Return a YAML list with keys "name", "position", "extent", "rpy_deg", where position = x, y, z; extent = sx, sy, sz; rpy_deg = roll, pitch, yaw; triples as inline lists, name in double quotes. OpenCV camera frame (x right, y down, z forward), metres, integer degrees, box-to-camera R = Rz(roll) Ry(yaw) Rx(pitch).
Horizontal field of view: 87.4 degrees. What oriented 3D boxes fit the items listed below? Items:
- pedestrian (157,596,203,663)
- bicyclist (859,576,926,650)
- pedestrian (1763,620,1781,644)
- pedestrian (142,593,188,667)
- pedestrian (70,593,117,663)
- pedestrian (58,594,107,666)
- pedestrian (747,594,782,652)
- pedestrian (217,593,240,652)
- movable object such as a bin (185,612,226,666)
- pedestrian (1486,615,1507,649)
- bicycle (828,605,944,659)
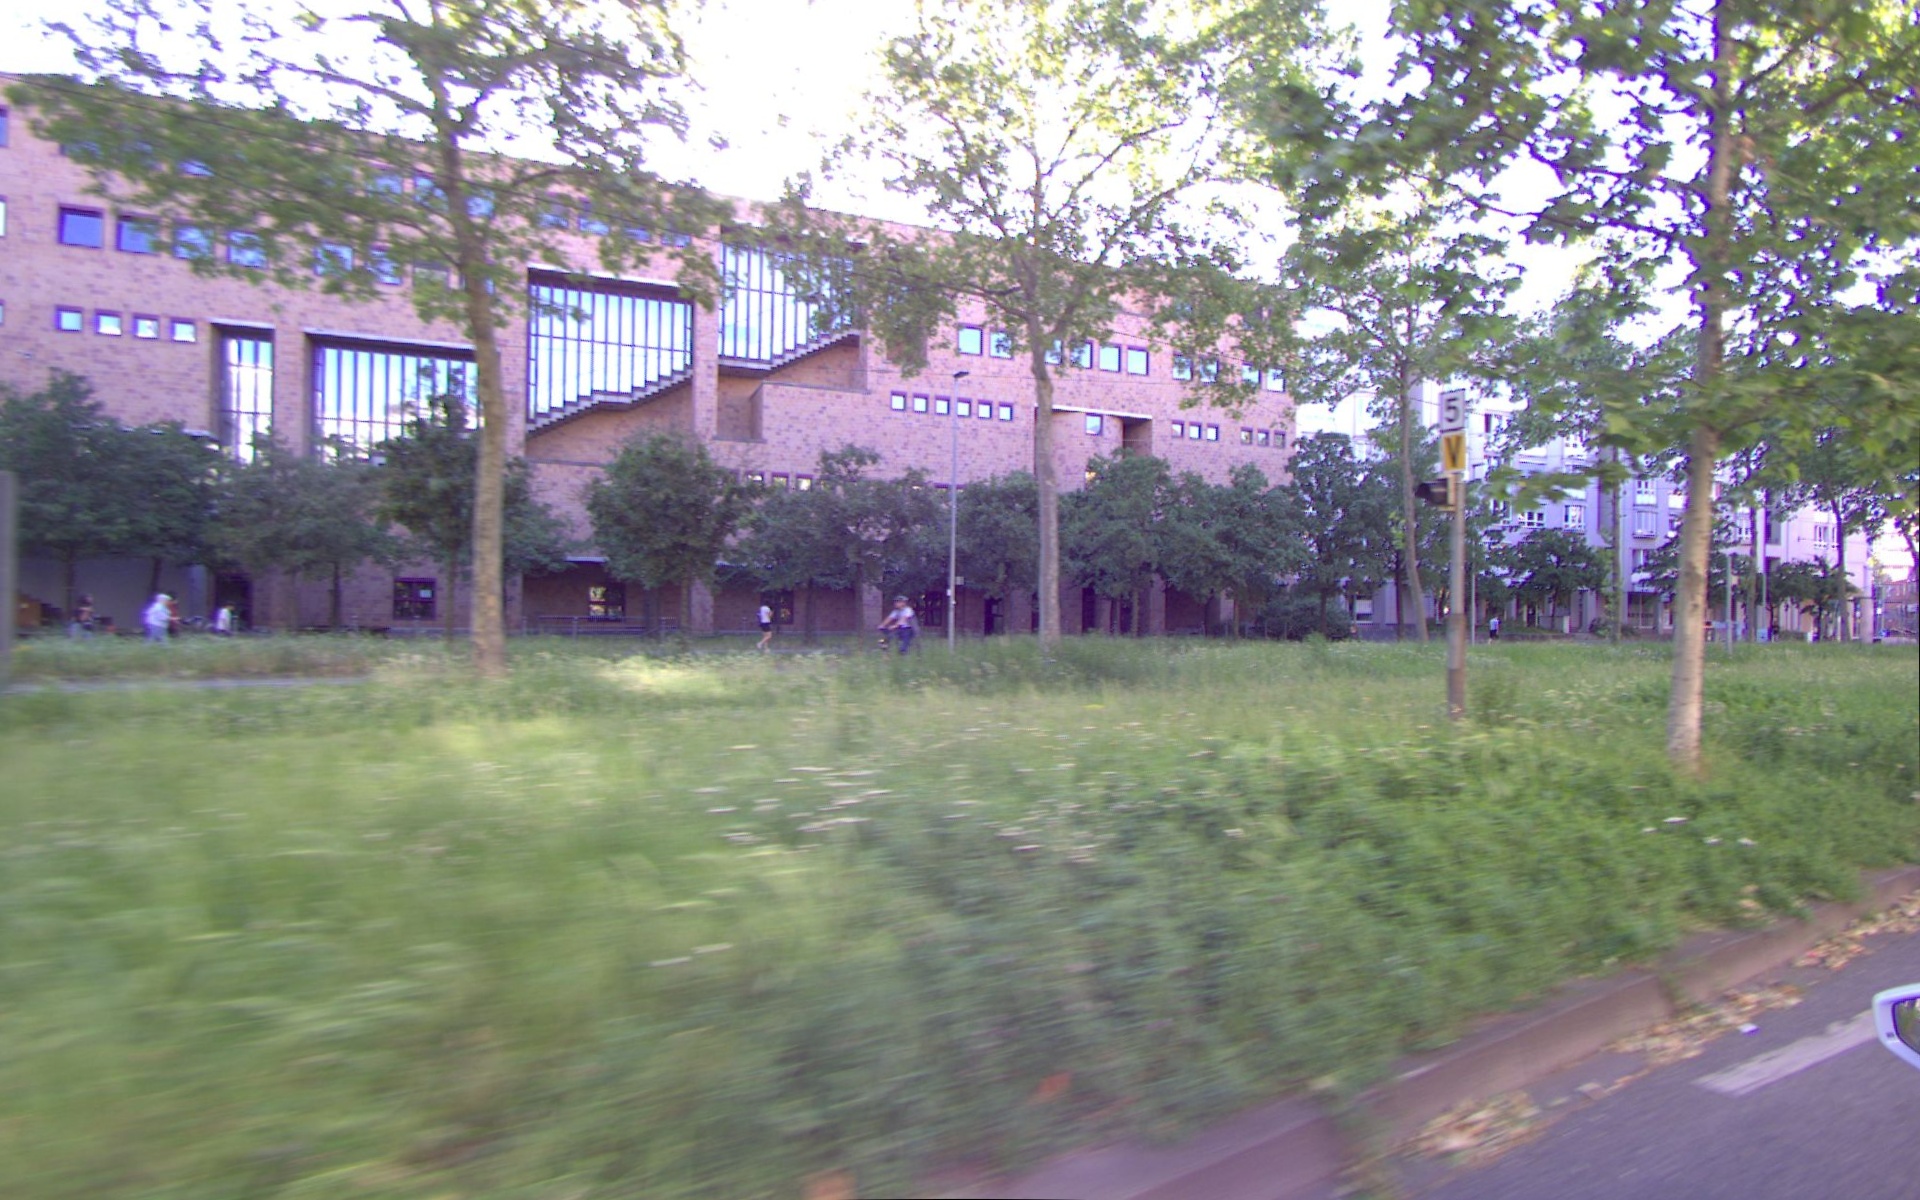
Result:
- name: "pedestrian"
  position: [-19.346, 0.732, 24.929]
  extent: [0.746, 1.638, 0.662]
  rpy_deg: [1, 0, -24]
- name: "bicyclist"
  position: [-1.517, 0.290, 22.517]
  extent: [1.196, 1.592, 0.936]
  rpy_deg: [1, 0, -32]
- name: "pedestrian"
  position: [58.195, 2.308, 72.000]
  extent: [0.777, 1.660, 0.706]
  rpy_deg: [1, 0, -21]
- name: "pedestrian"
  position: [-19.015, 0.706, 24.040]
  extent: [0.788, 1.745, 0.660]
  rpy_deg: [1, 0, -33]
- name: "pedestrian"
  position: [-20.680, 0.651, 23.987]
  extent: [0.749, 1.638, 0.659]
  rpy_deg: [1, 0, -34]
- name: "pedestrian"
  position: [-20.295, 0.691, 23.246]
  extent: [0.748, 1.638, 0.660]
  rpy_deg: [1, 0, -33]
- name: "pedestrian"
  position: [-6.396, 0.754, 32.904]
  extent: [0.891, 1.856, 0.819]
  rpy_deg: [1, 0, -31]
- name: "pedestrian"
  position: [-19.063, 0.579, 26.180]
  extent: [0.459, 1.525, 0.480]
  rpy_deg: [1, 0, -35]
- name: "movable object such as a bin"
  position: [-18.371, 0.938, 24.460]
  extent: [0.748, 1.296, 0.353]
  rpy_deg: [1, 0, -33]
- name: "pedestrian"
  position: [28.155, 1.652, 52.701]
  extent: [0.640, 1.763, 0.725]
  rpy_deg: [1, 0, -31]
- name: "bicycle"
  position: [-1.633, 0.727, 22.438]
  extent: [2.409, 1.141, 0.951]
  rpy_deg: [2, -1, -32]
